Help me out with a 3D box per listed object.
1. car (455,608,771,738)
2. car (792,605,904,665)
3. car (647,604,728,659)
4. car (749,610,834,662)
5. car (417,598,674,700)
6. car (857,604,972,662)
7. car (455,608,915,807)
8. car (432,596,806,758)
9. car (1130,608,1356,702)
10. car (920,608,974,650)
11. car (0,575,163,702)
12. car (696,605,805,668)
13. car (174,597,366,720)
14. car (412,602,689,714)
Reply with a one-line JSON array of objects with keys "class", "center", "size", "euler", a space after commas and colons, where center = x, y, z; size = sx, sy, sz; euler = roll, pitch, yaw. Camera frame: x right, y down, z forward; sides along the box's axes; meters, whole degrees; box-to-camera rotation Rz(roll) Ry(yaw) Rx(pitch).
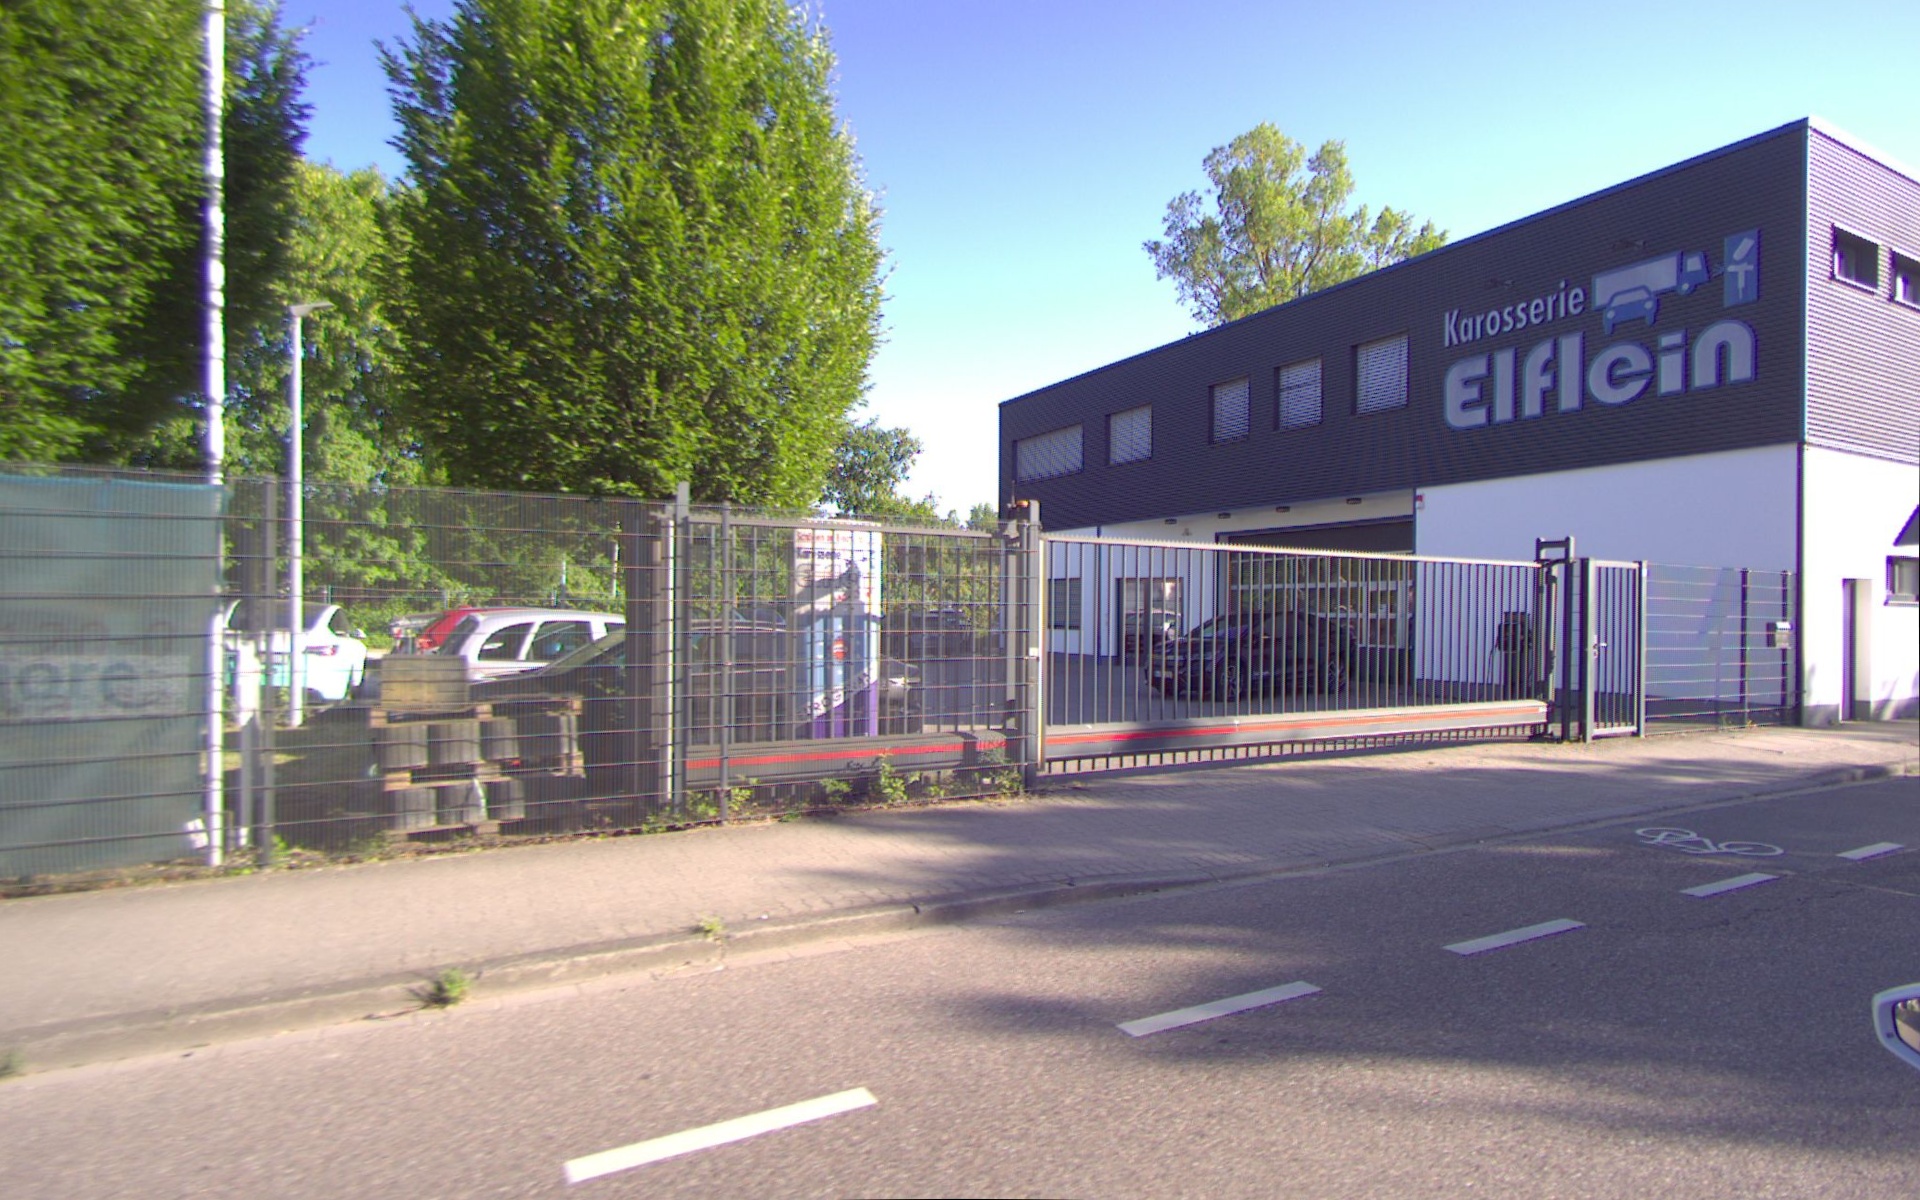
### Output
[{"class": "car", "center": [-4.858, 0.951, 14.165], "size": [3.953, 1.598, 1.860], "euler": [1, -2, -30]}, {"class": "car", "center": [-3.467, 1.033, 30.407], "size": [1.985, 1.672, 4.244], "euler": [1, -2, -28]}, {"class": "car", "center": [-9.041, 1.024, 33.105], "size": [1.850, 1.672, 4.177], "euler": [1, -2, -25]}, {"class": "car", "center": [-5.857, 1.210, 34.516], "size": [1.850, 1.672, 4.177], "euler": [1, -2, -25]}, {"class": "car", "center": [-7.570, 0.863, 18.409], "size": [4.154, 1.672, 1.952], "euler": [1, -2, -30]}, {"class": "car", "center": [-1.496, 1.009, 31.348], "size": [1.985, 1.672, 4.244], "euler": [1, -2, -28]}, {"class": "car", "center": [-2.605, 0.889, 9.691], "size": [3.953, 1.561, 1.860], "euler": [1, -2, -30]}, {"class": "car", "center": [-4.026, 0.826, 11.970], "size": [3.953, 1.627, 1.860], "euler": [1, -2, -30]}, {"class": "car", "center": [5.479, 0.992, 19.339], "size": [4.130, 1.561, 1.860], "euler": [-1, -1, -31]}, {"class": "car", "center": [-0.512, 1.237, 42.895], "size": [1.837, 1.672, 4.206], "euler": [0, -1, 6]}, {"class": "car", "center": [-12.836, 0.516, 14.069], "size": [1.851, 1.561, 3.972], "euler": [1, -2, -27]}, {"class": "car", "center": [-6.075, 1.018, 28.753], "size": [1.985, 1.672, 4.244], "euler": [1, -2, -28]}, {"class": "car", "center": [-10.082, 0.807, 14.989], "size": [1.851, 1.561, 3.972], "euler": [1, -2, -27]}, {"class": "car", "center": [-6.622, 0.890, 16.298], "size": [3.953, 1.612, 1.860], "euler": [1, -2, -30]}]
